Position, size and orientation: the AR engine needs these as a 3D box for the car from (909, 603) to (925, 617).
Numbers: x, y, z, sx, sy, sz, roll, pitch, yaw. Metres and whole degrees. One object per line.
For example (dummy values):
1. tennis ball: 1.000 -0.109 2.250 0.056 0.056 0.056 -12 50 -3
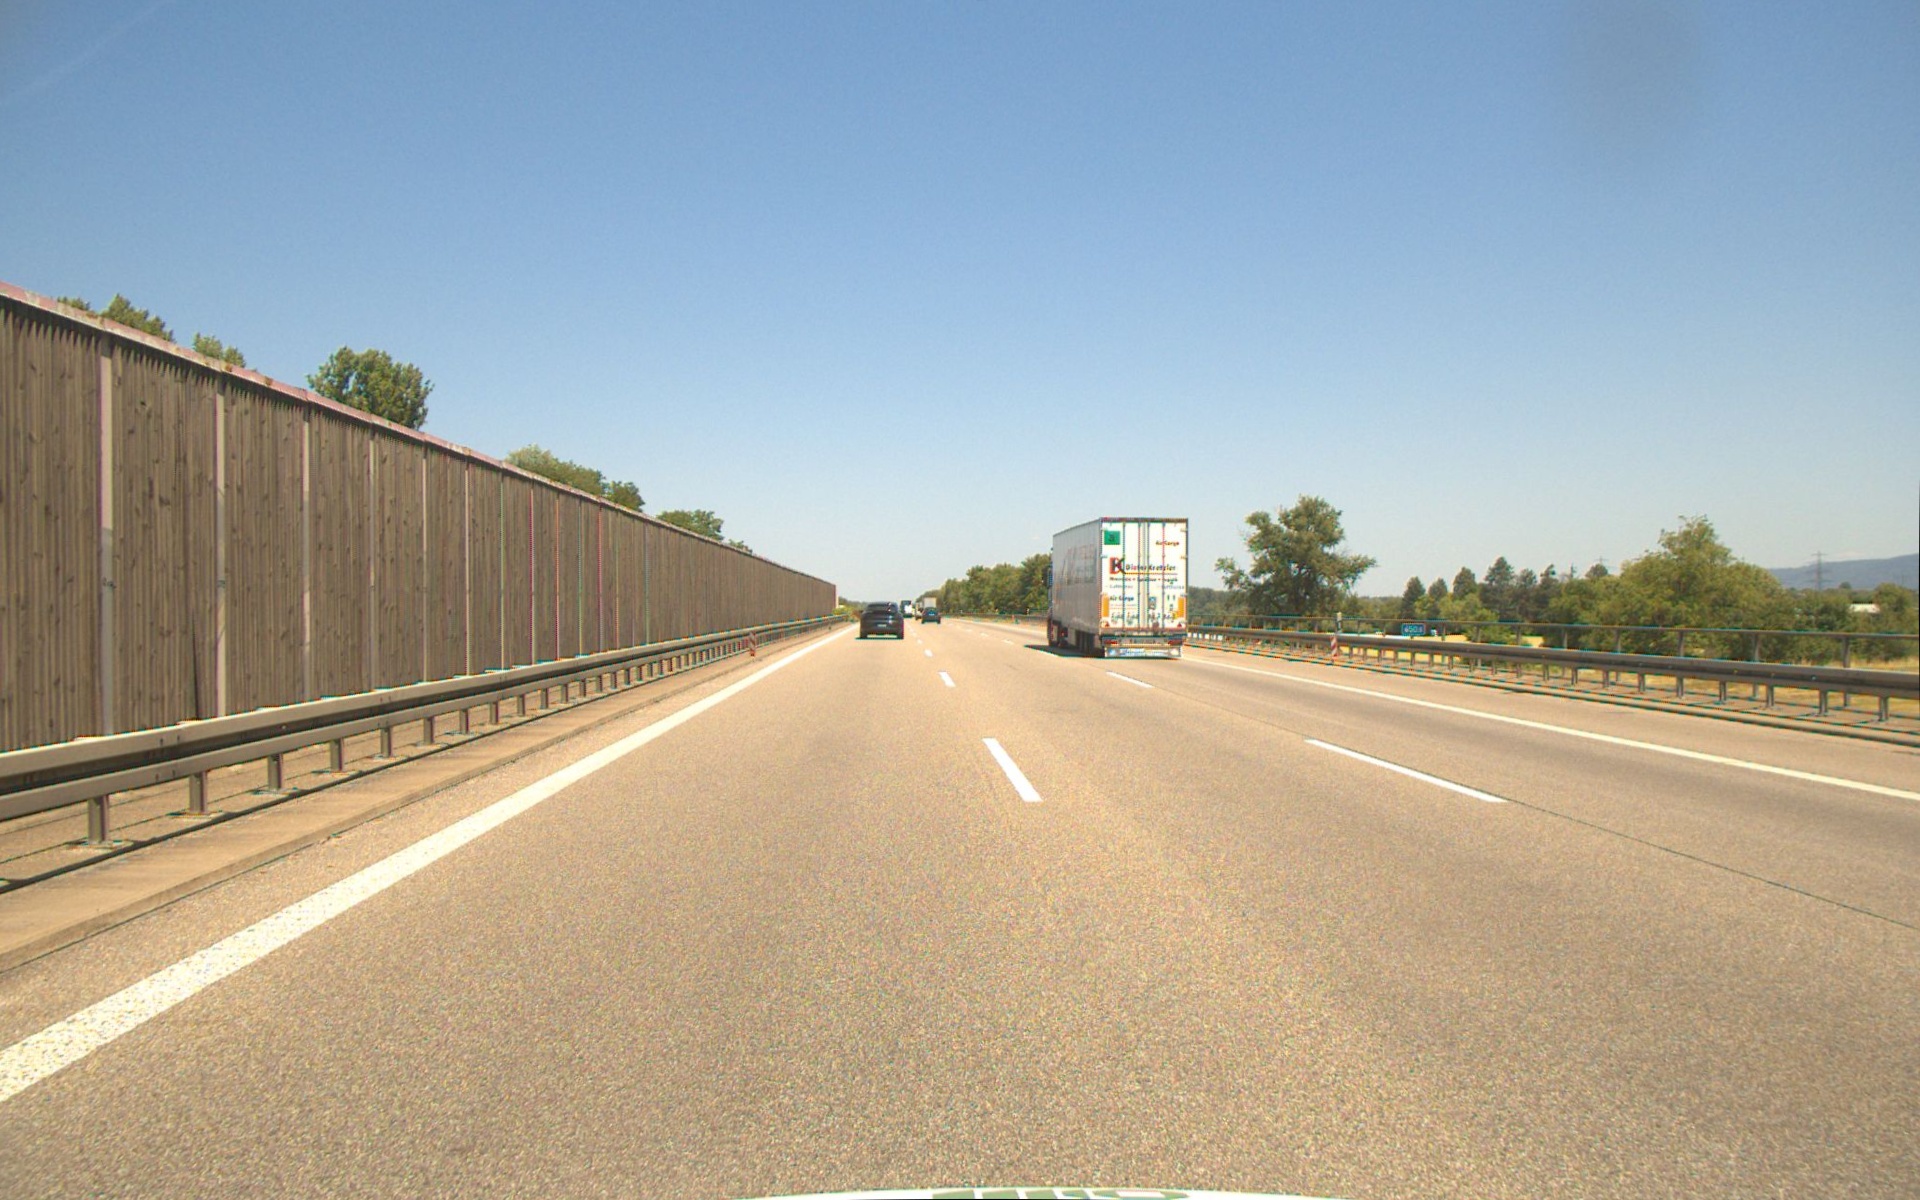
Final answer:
1. car: -5.125 1.184 196.502 1.865 1.612 4.302 -1 -1 -2

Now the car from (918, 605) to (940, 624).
1. car: -2.724 1.297 146.603 1.865 1.612 4.302 -1 -1 -2

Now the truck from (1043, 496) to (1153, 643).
1. truck: 4.872 -1.041 59.792 3.169 4.974 6.969 0 0 -2

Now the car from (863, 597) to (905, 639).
1. car: -3.427 0.767 74.378 1.843 1.823 3.997 0 0 -4

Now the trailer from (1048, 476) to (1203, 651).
1. trailer: 5.048 -1.037 53.806 3.203 4.922 14.024 0 0 -2
